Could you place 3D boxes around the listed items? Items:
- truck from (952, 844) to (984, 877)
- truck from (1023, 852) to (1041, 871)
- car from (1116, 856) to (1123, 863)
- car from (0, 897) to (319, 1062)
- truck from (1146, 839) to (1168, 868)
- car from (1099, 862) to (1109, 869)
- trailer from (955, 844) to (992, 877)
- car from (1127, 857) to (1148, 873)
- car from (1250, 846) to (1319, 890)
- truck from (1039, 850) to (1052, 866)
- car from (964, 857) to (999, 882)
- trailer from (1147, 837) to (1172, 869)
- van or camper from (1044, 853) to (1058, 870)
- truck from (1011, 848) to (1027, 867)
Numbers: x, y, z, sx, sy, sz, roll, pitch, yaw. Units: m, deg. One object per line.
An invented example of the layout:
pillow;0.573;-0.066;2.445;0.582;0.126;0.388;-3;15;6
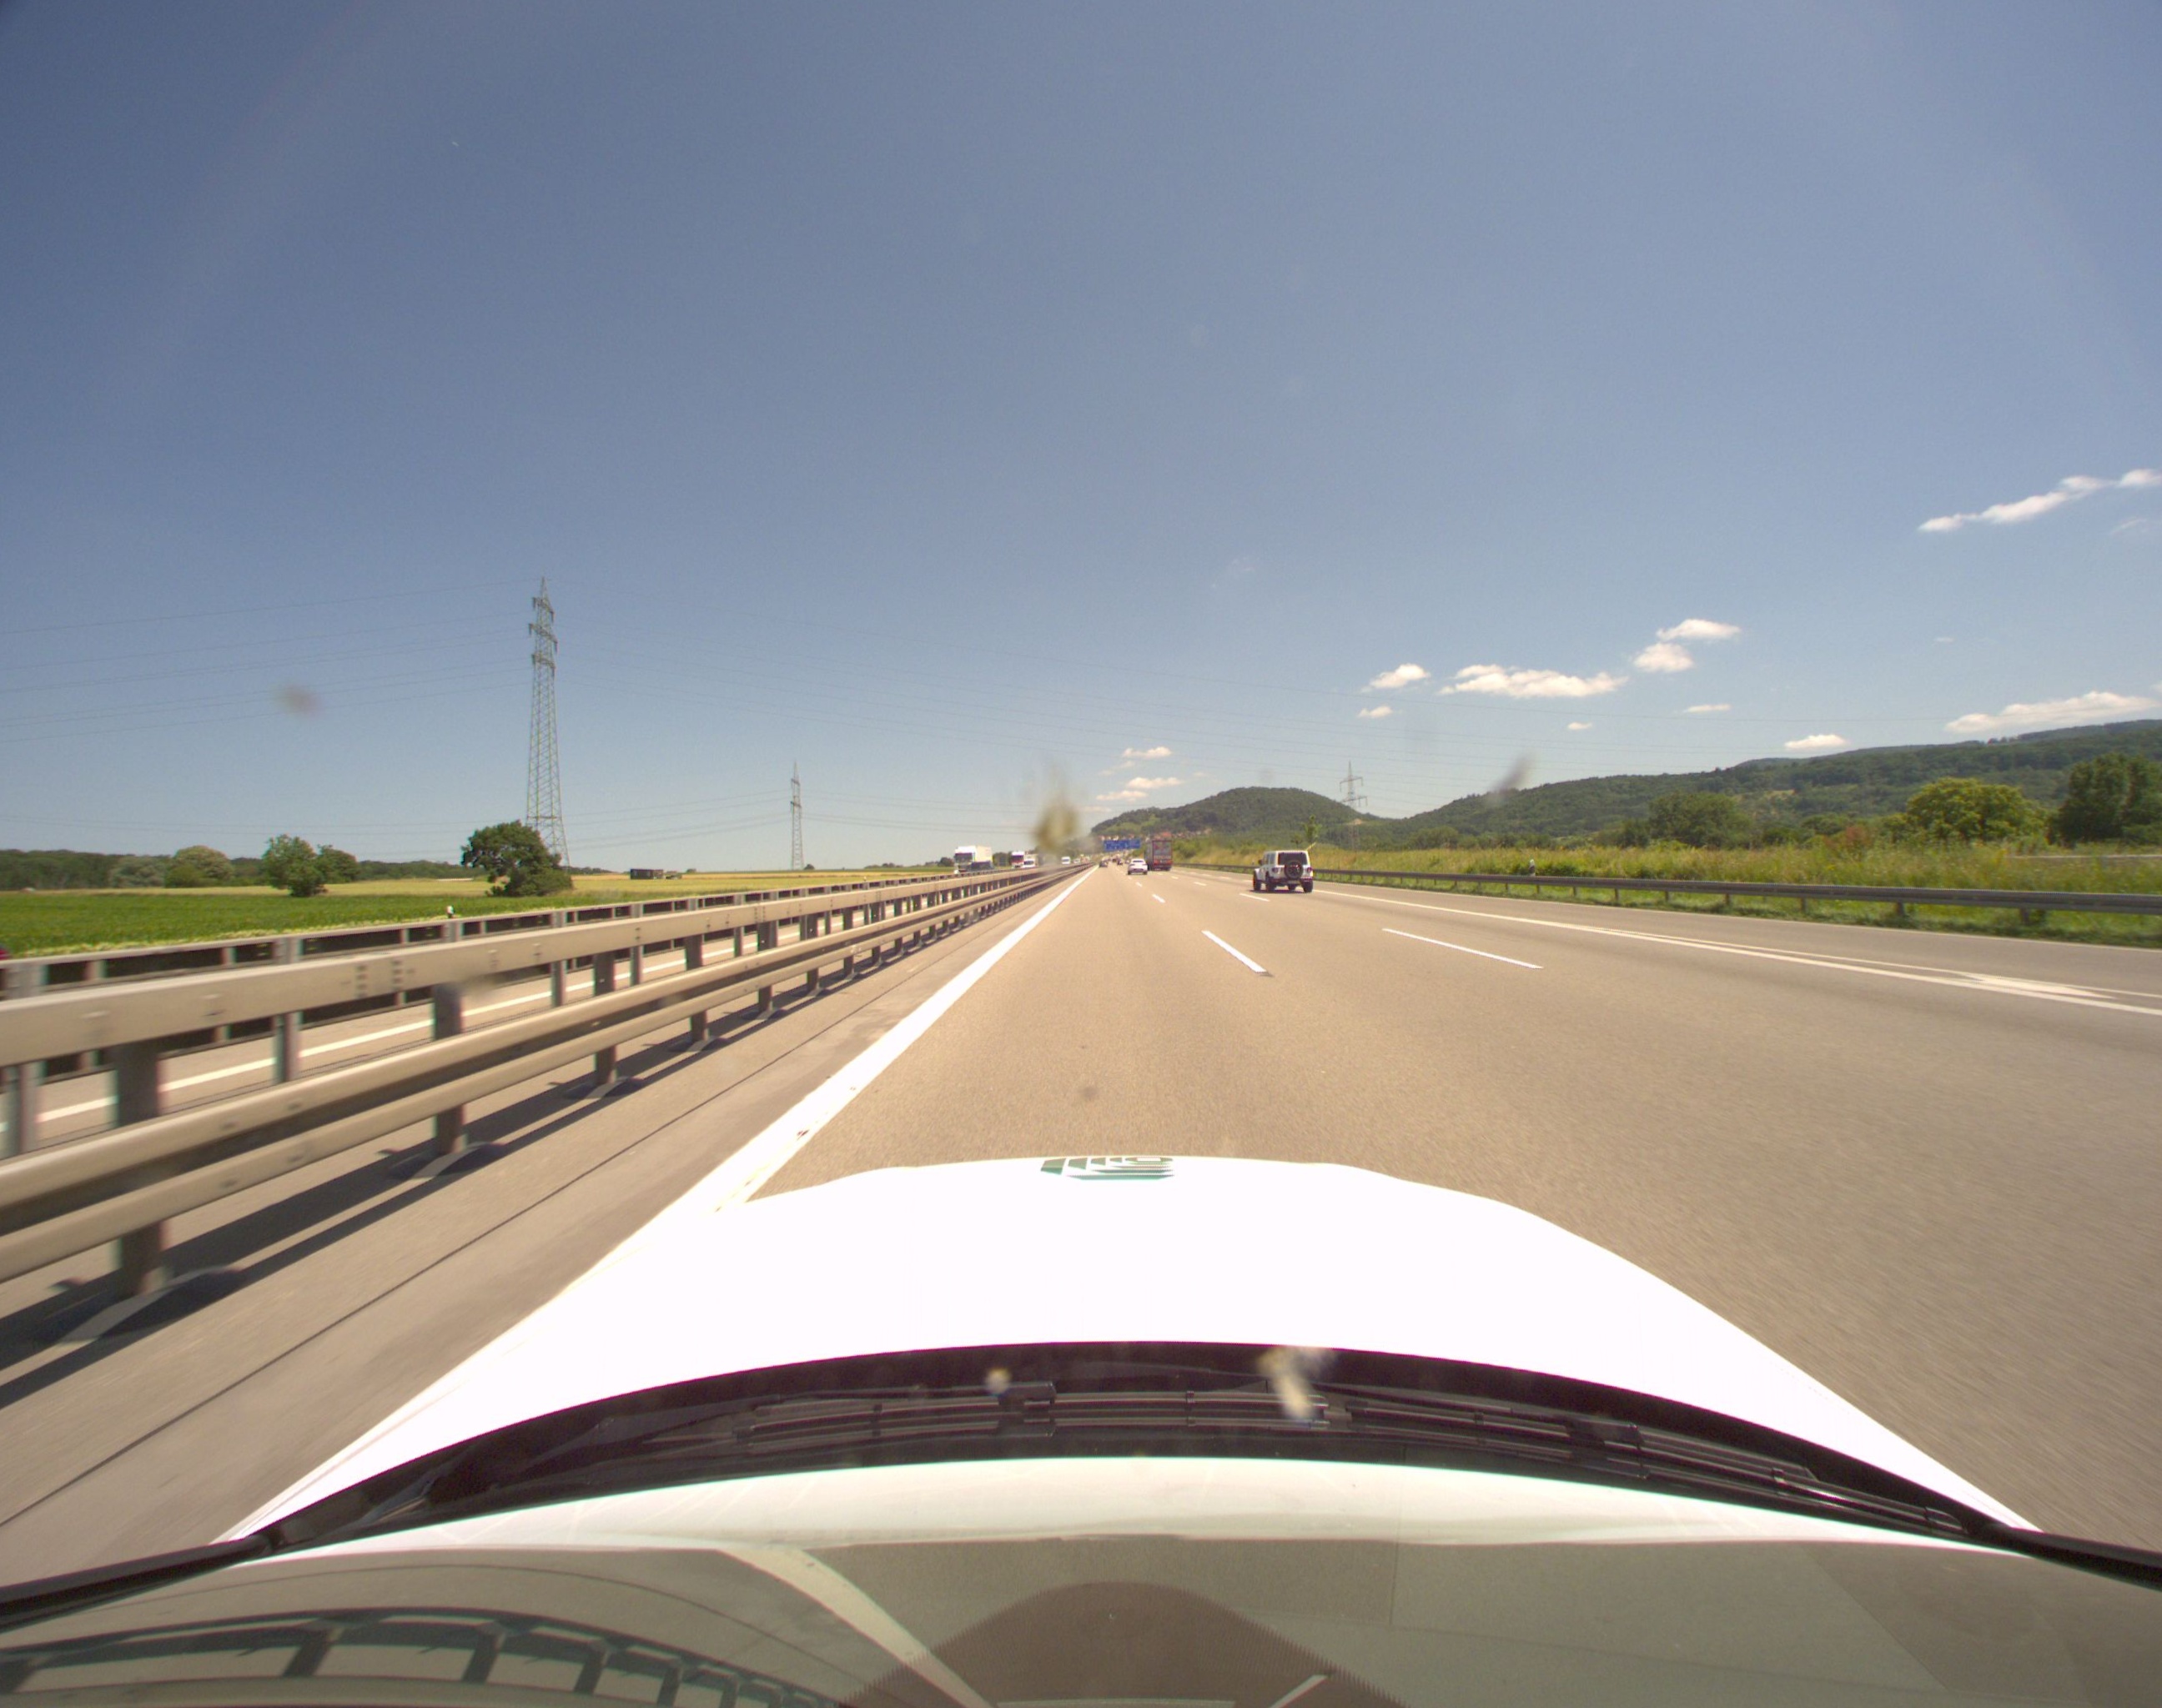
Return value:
truck;-13.952;0.823;100.934;2.929;3.930;6.478;-1;-1;1
truck;-8.292;1.271;138.153;2.241;3.009;7.430;-3;-1;2
car;10.719;1.525;228.288;1.986;2.014;4.002;-1;-1;2
car;-11.434;1.364;9.163;1.813;1.444;4.001;-4;0;2
truck;10.783;0.000;116.449;2.742;4.020;6.791;-1;-1;2
car;4.523;2.258;161.633;1.986;1.389;4.002;-1;-1;2
trailer;-13.862;0.850;106.206;2.947;3.918;12.895;-1;-1;1
car;5.750;1.082;83.714;1.907;1.581;5.232;-1;-1;1
car;9.129;0.612;36.867;2.027;1.804;4.251;-3;0;1
truck;-9.516;1.022;218.967;2.810;4.090;7.533;-1;-1;1
car;-7.153;1.127;58.984;1.803;1.640;4.430;-4;-1;2
trailer;10.603;-0.045;110.978;2.715;4.155;11.812;-1;-1;2
van or camper;-4.987;1.312;137.167;2.151;2.735;7.294;-1;-1;0
truck;-12.236;0.711;160.091;2.710;3.690;6.053;0;-1;-1
